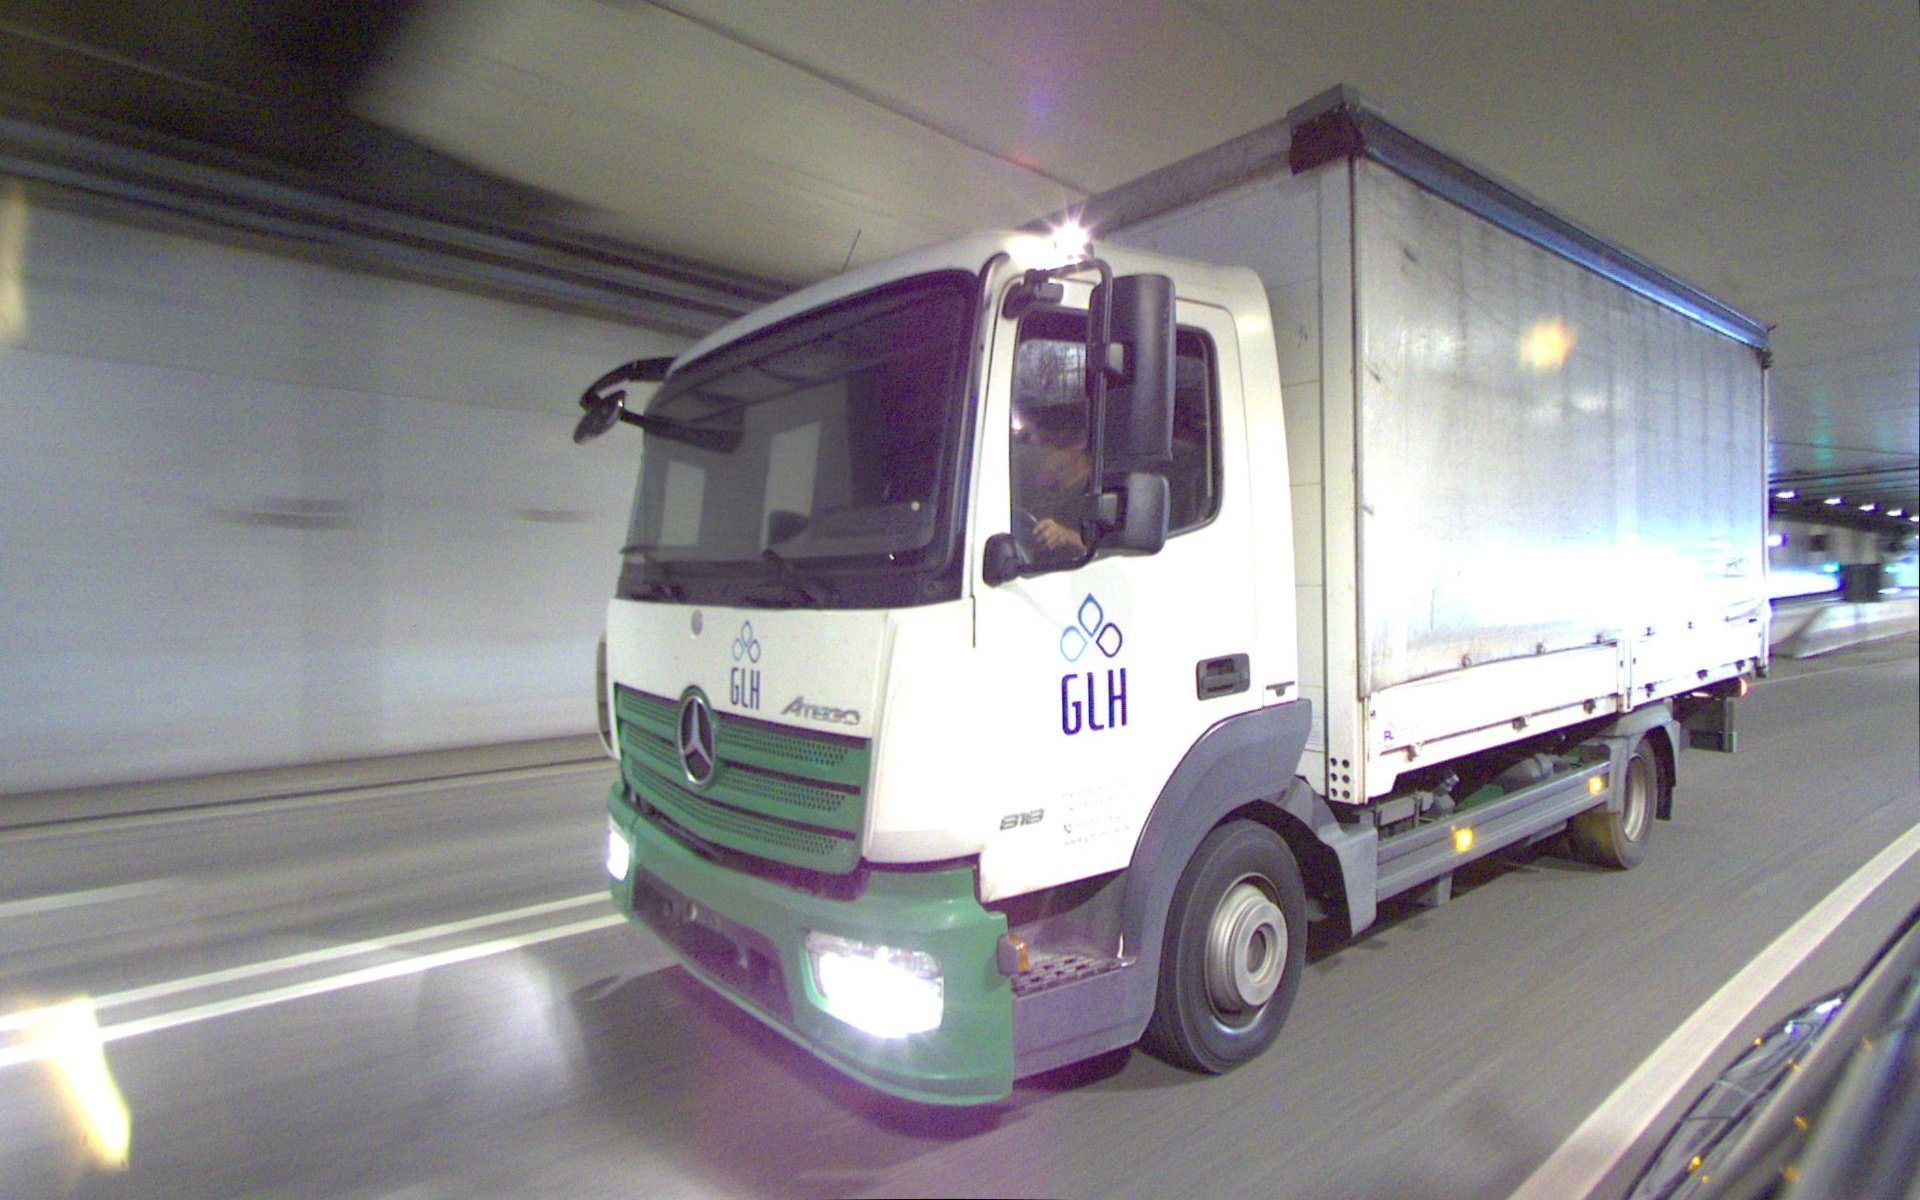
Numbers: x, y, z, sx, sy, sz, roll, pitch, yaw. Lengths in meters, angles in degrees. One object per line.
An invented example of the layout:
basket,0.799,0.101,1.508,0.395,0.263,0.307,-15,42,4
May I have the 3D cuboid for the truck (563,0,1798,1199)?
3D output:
truck,1.949,-0.259,5.364,7.116,3.221,2.559,-1,1,-40
